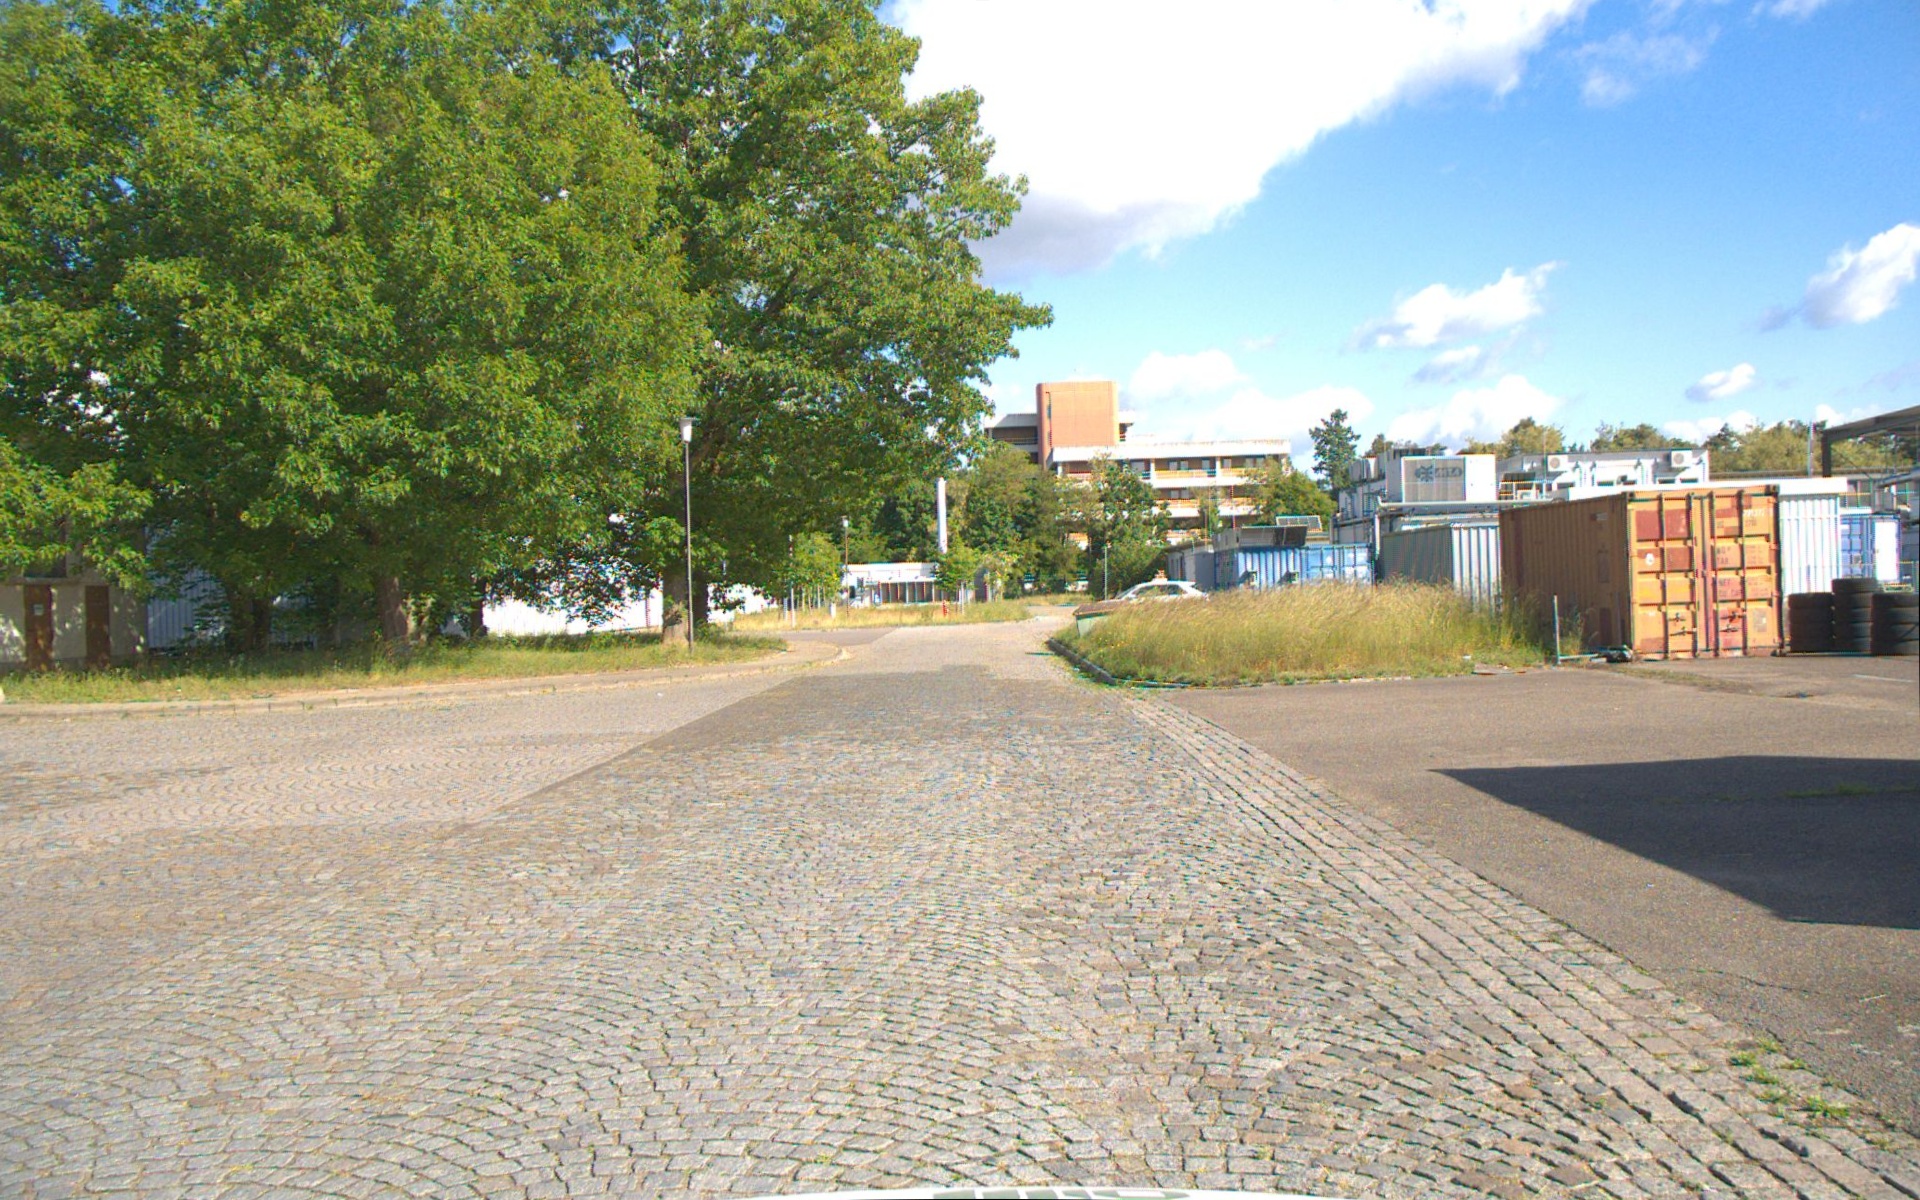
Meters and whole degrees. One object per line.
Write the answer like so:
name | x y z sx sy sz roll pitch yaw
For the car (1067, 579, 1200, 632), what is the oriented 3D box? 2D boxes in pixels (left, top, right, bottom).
car | 6.141 0.180 58.846 4.494 1.707 1.875 -2 0 0

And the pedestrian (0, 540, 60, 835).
pedestrian | -6.733 0.587 11.010 0.781 1.947 1.142 -2 0 1
